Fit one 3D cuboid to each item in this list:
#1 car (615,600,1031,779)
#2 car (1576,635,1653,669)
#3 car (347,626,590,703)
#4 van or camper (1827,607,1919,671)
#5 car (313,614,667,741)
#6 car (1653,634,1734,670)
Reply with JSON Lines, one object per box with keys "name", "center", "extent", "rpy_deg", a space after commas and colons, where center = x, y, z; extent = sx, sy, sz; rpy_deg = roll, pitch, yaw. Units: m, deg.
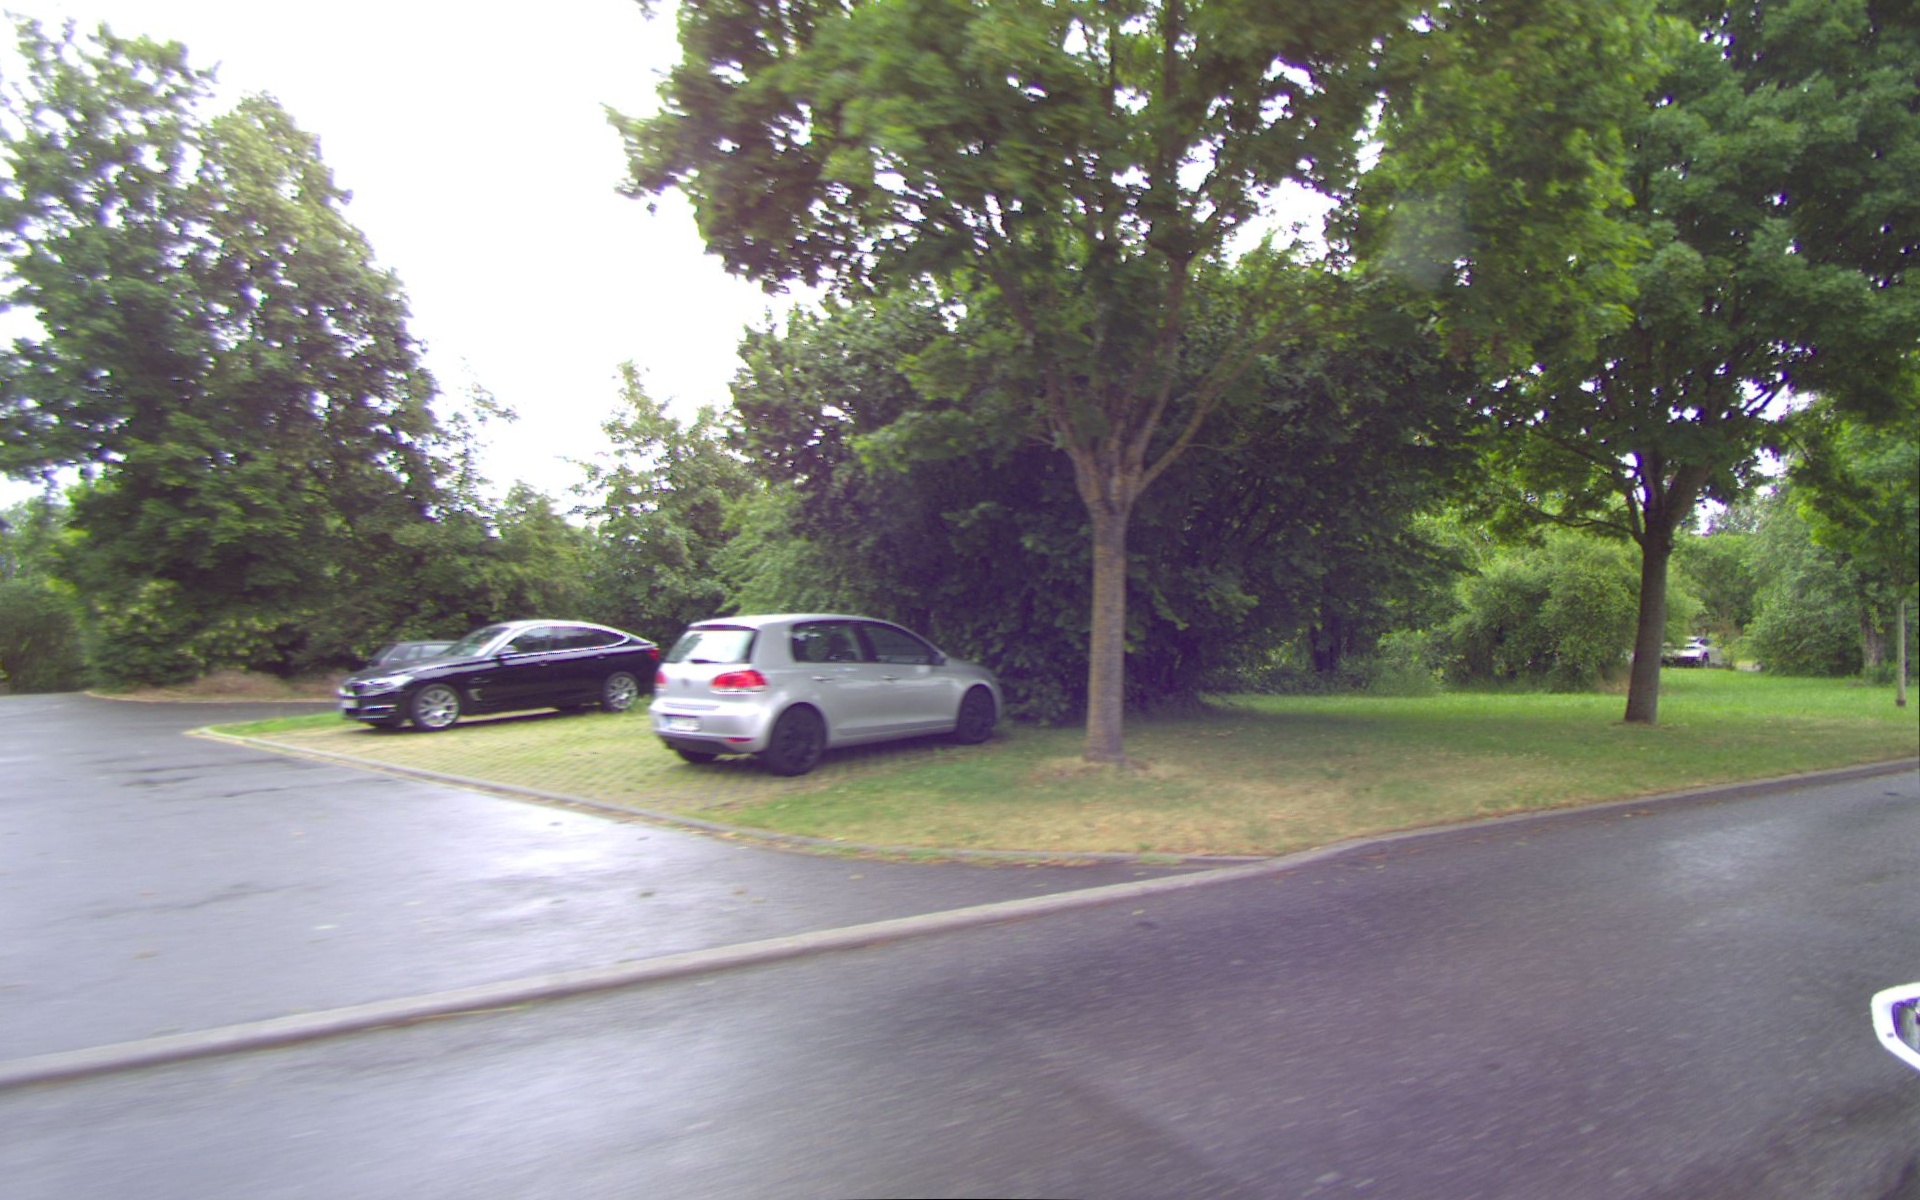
{"name": "car", "center": [-1.269, 0.782, 10.732], "extent": [1.860, 1.449, 4.194], "rpy_deg": [-2, 0, 42]}
{"name": "car", "center": [32.321, 2.544, 49.565], "extent": [4.312, 1.601, 1.840], "rpy_deg": [2, -3, -37]}
{"name": "car", "center": [-10.050, 1.272, 20.735], "extent": [4.187, 1.429, 1.817], "rpy_deg": [2, -3, -43]}
{"name": "van or camper", "center": [37.693, 1.595, 40.891], "extent": [6.752, 2.391, 2.366], "rpy_deg": [2, -3, -38]}
{"name": "car", "center": [-6.968, 1.046, 15.385], "extent": [1.838, 1.529, 4.589], "rpy_deg": [-1, 0, 36]}
{"name": "car", "center": [34.097, 2.442, 46.645], "extent": [4.960, 1.557, 1.776], "rpy_deg": [3, -3, -38]}
